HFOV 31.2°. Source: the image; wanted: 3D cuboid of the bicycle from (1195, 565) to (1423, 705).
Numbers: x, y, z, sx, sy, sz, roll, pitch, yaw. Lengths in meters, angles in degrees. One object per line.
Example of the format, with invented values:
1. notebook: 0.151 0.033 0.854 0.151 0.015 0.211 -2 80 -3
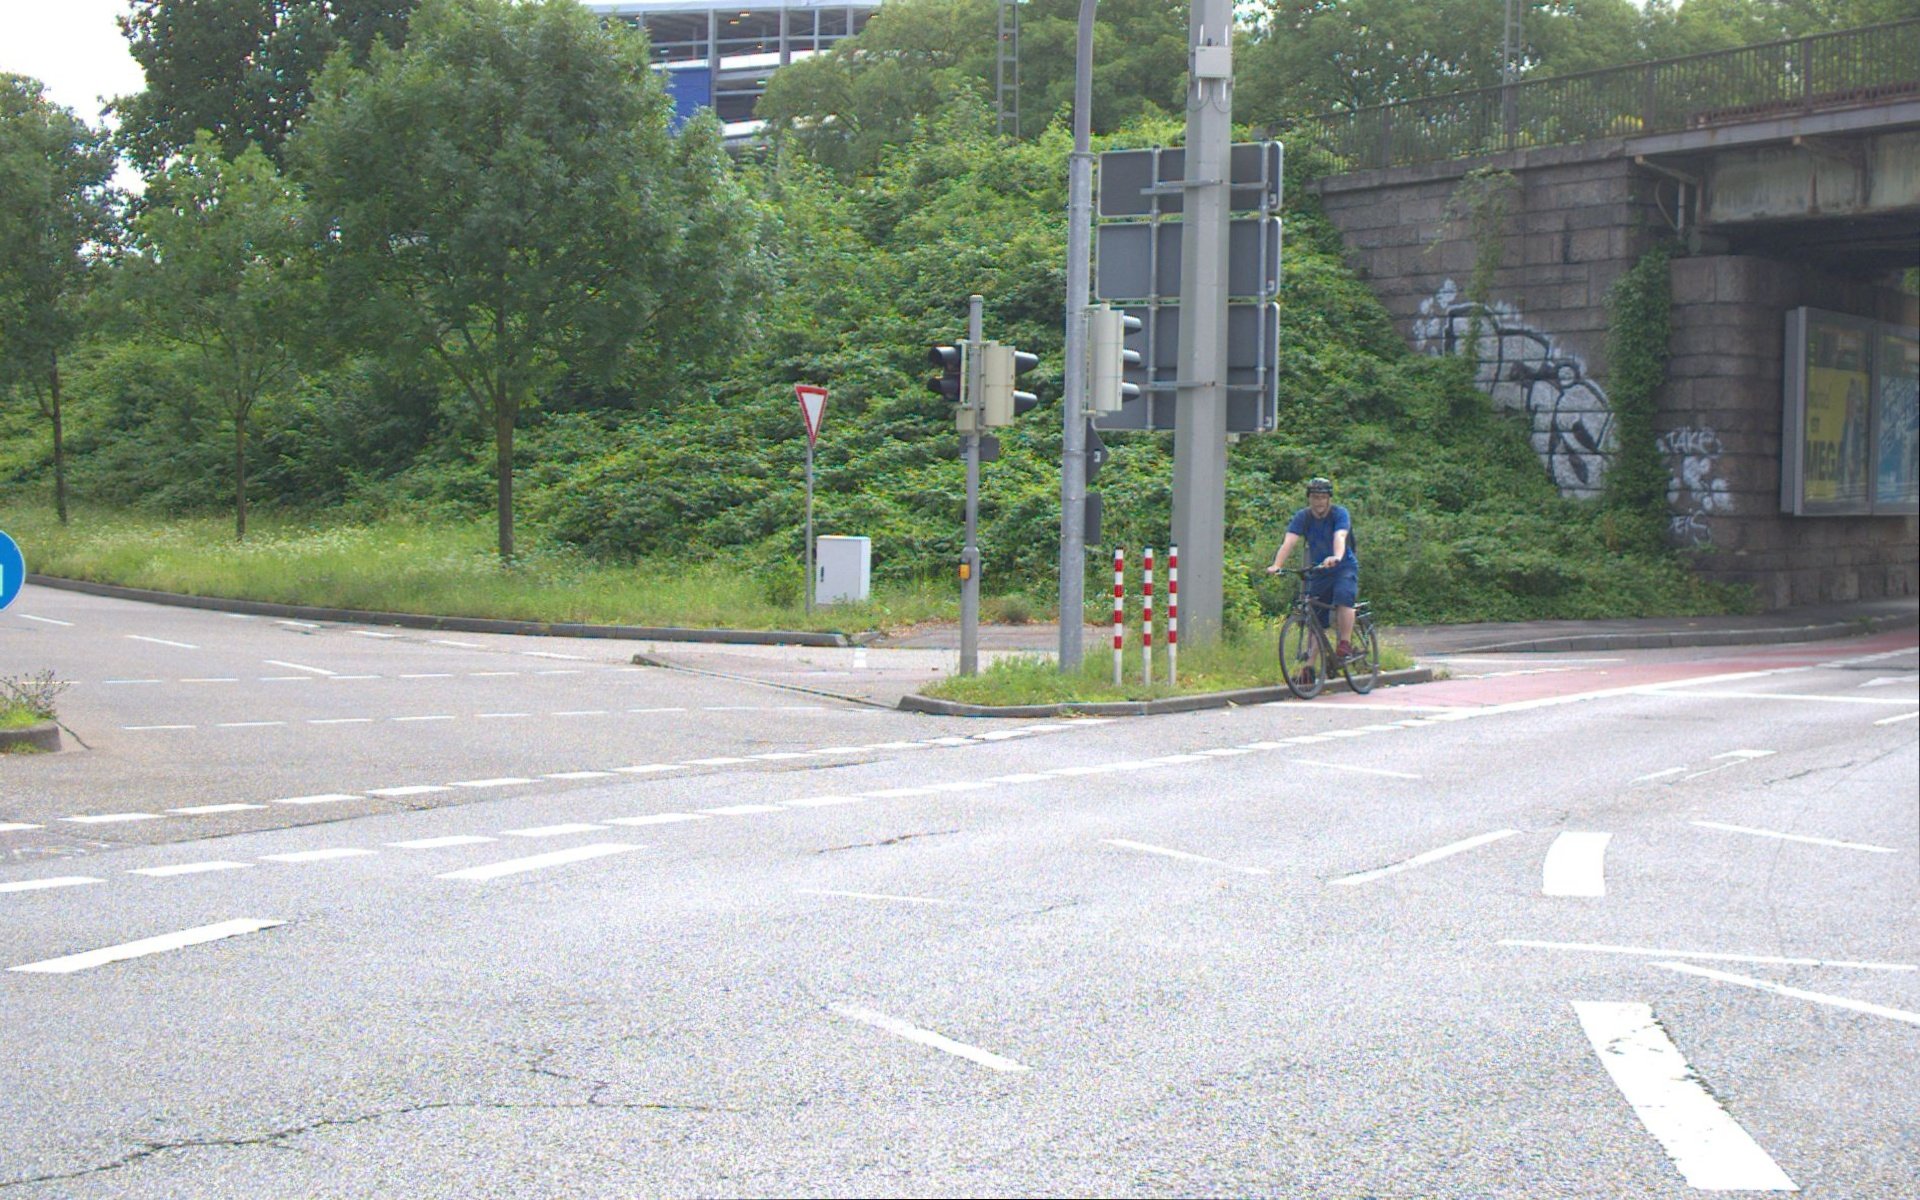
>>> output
1. bicycle: 2.965 0.270 28.997 0.844 1.089 2.313 3 3 36

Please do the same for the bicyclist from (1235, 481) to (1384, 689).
1. bicyclist: 2.951 -0.120 29.006 0.844 1.673 0.822 -5 -3 36
